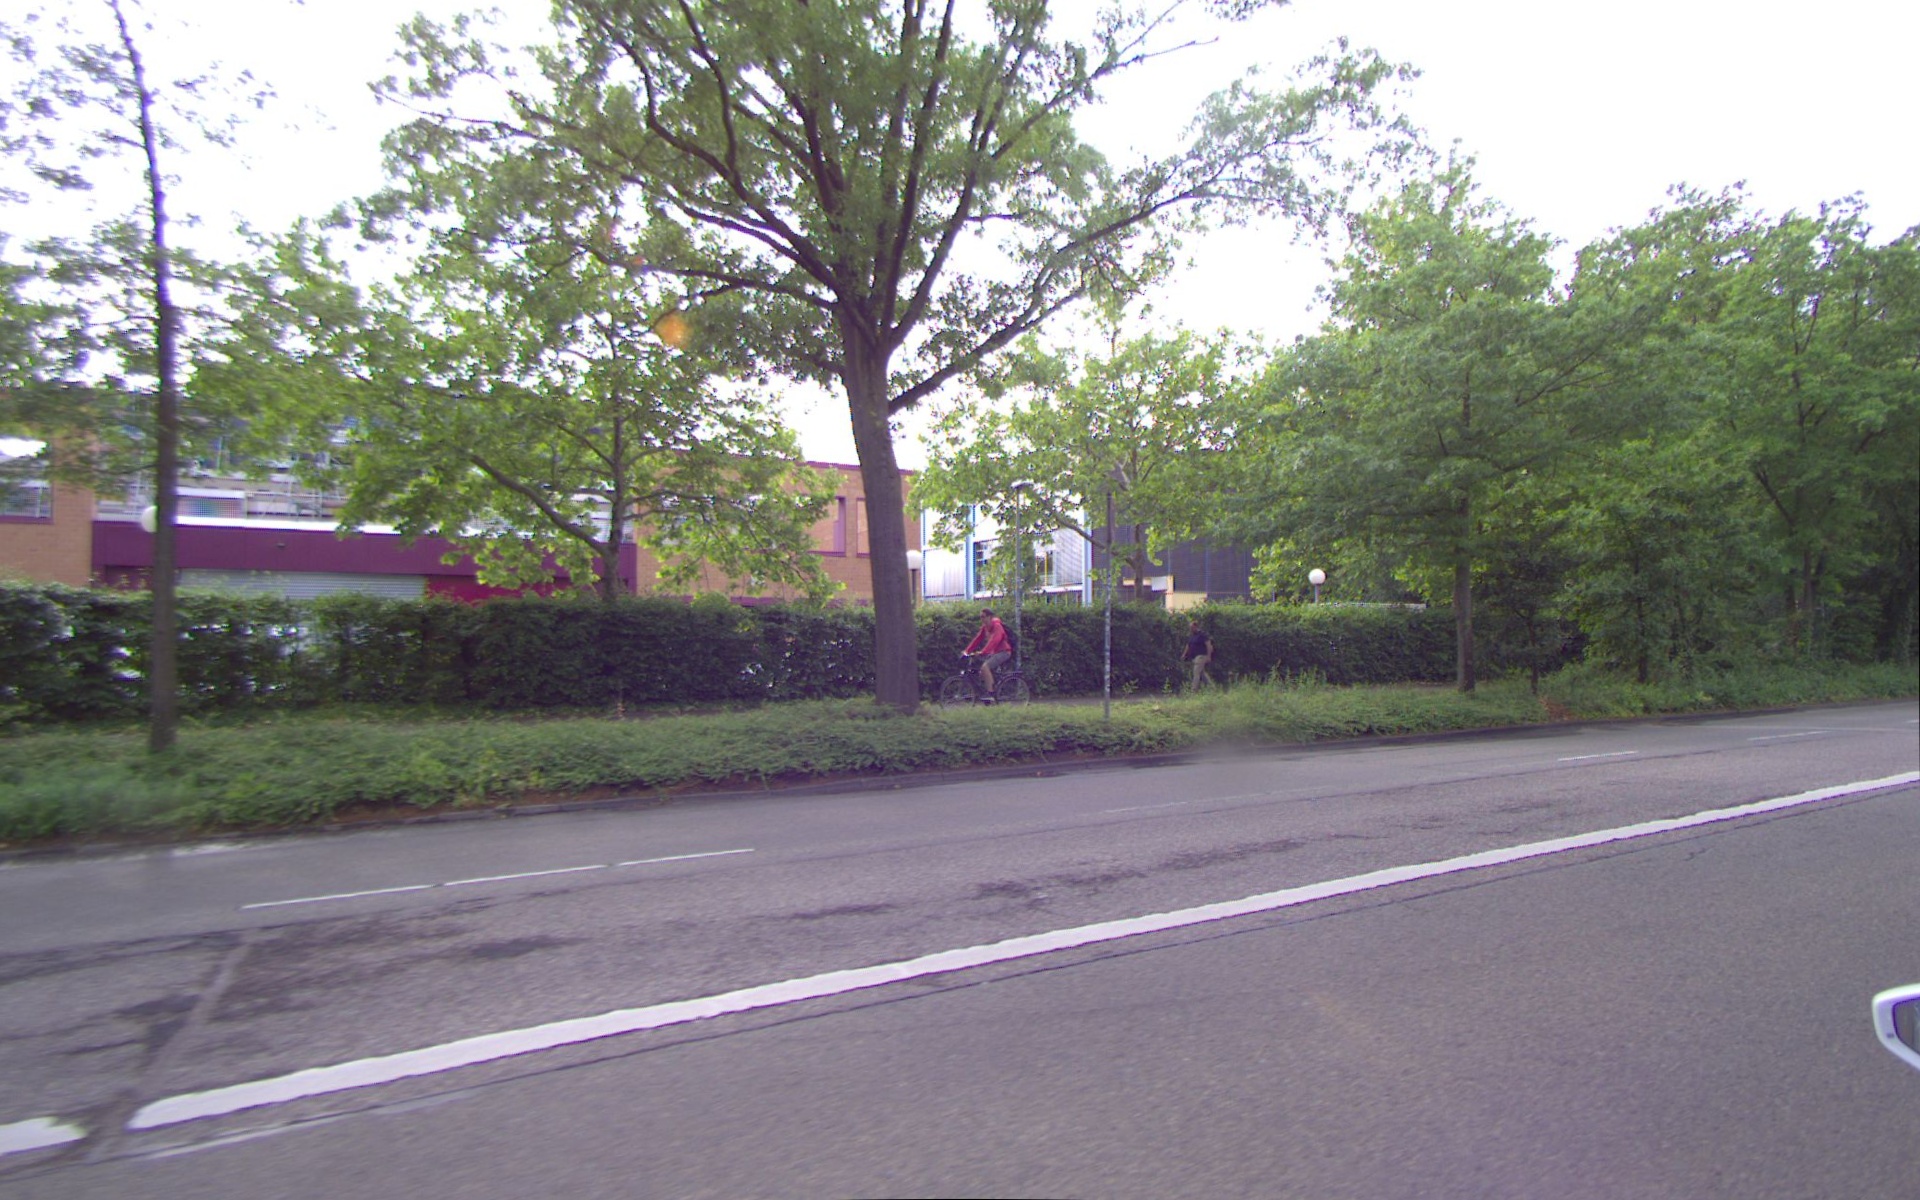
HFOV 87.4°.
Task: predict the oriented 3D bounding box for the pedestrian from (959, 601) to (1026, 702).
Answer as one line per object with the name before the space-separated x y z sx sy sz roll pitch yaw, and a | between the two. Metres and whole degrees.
pedestrian | 0.542 0.850 16.952 0.838 1.635 0.788 1 0 -30
